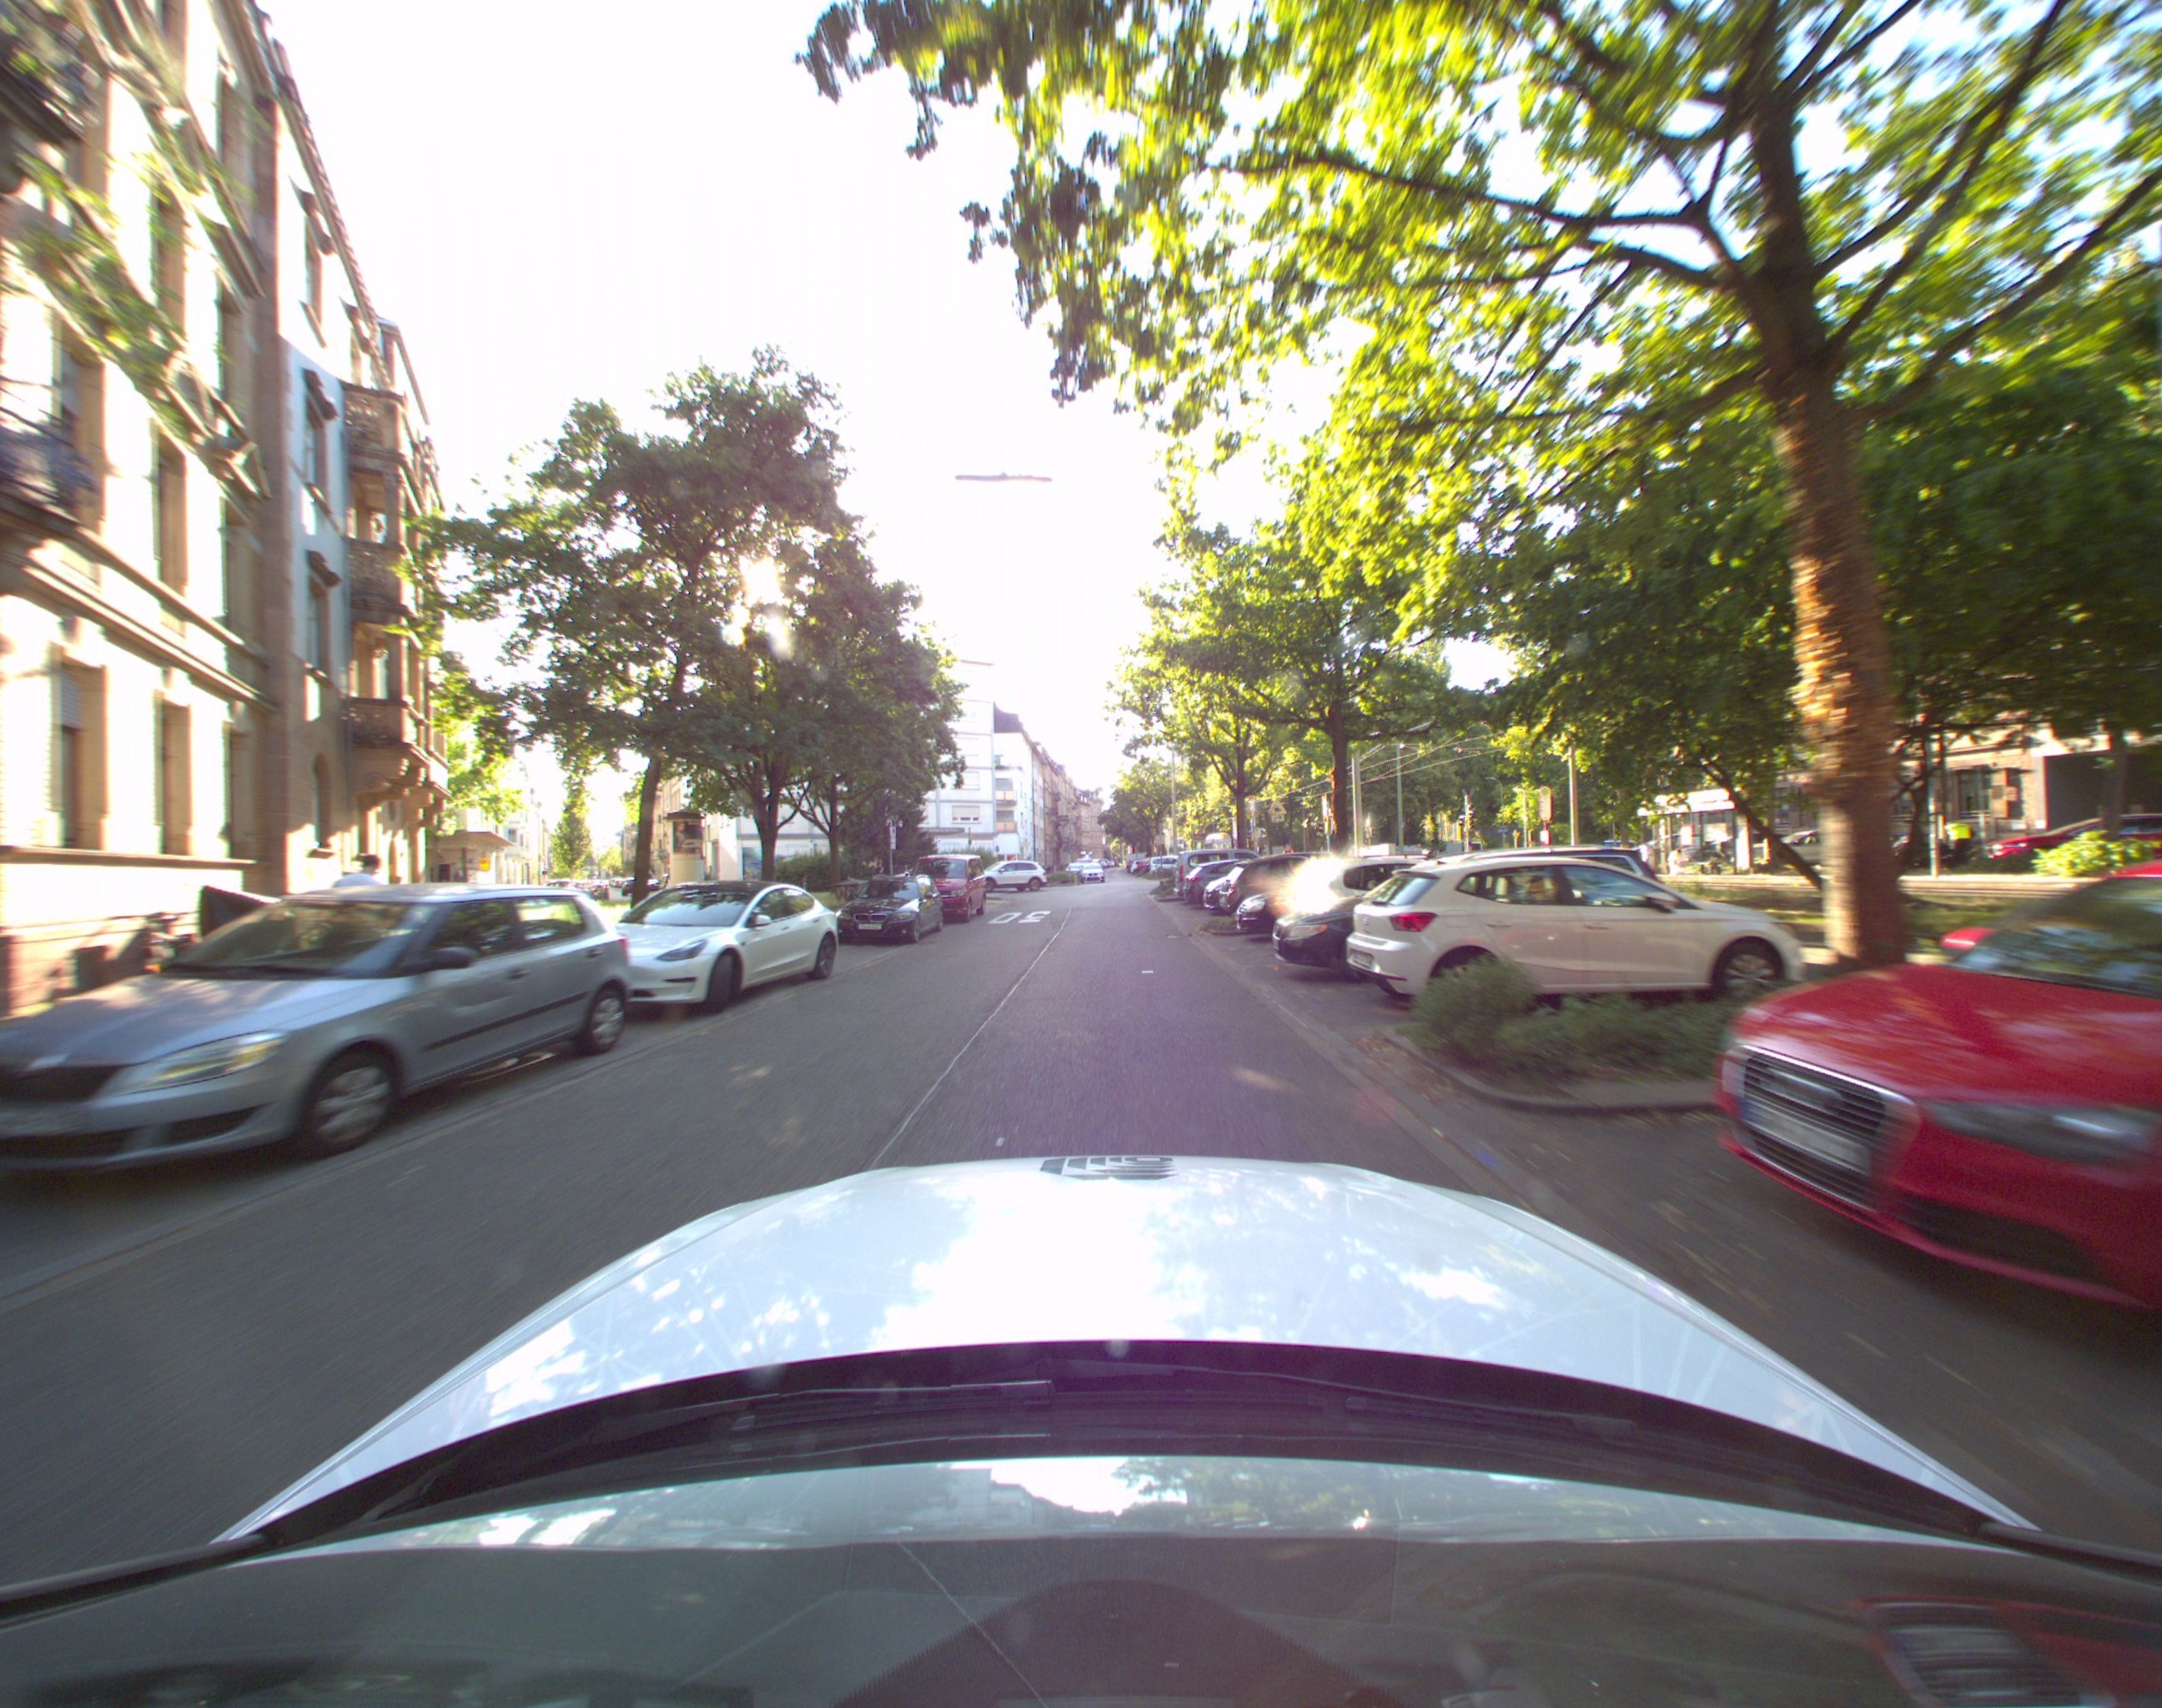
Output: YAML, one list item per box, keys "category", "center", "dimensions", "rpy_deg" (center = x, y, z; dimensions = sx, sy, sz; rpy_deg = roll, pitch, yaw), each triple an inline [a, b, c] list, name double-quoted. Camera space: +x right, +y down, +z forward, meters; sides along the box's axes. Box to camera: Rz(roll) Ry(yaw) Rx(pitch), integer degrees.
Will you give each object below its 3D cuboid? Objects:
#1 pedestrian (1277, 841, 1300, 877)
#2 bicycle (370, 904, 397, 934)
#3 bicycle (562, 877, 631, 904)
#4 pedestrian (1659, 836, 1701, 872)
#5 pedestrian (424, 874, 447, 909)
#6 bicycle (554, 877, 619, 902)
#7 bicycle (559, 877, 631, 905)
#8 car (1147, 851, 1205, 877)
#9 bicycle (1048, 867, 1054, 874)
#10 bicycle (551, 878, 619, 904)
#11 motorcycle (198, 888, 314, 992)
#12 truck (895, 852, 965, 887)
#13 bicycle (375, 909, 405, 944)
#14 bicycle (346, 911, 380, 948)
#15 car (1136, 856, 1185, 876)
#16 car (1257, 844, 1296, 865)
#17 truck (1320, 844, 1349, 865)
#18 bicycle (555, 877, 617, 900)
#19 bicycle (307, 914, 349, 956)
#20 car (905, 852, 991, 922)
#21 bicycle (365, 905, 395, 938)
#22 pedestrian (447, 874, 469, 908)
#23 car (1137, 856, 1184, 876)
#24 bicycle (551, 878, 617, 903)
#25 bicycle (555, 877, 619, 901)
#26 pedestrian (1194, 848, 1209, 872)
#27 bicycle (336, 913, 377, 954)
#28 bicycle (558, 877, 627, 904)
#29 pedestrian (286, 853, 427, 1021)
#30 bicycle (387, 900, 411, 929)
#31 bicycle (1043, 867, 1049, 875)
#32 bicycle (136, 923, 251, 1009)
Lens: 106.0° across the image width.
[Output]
- category: "pedestrian"
  center: [11.104, 0.264, 43.556]
  dimensions: [0.899, 1.918, 1.151]
  rpy_deg: [-2, 0, 2]
- category: "bicycle"
  center: [-18.879, 1.747, 22.057]
  dimensions: [0.370, 0.732, 1.494]
  rpy_deg: [-1, -1, -34]
- category: "bicycle"
  center: [-27.794, 2.081, 46.827]
  dimensions: [3.390, 1.445, 0.873]
  rpy_deg: [-1, -1, -30]
- category: "pedestrian"
  center: [21.858, -0.002, 29.727]
  dimensions: [0.821, 1.273, 0.875]
  rpy_deg: [-2, -1, -6]
- category: "pedestrian"
  center: [-36.216, 2.087, 45.713]
  dimensions: [0.855, 1.875, 0.882]
  rpy_deg: [-2, -1, -32]
- category: "bicycle"
  center: [-30.745, 2.193, 50.702]
  dimensions: [3.389, 1.445, 0.873]
  rpy_deg: [1, -2, -30]
- category: "bicycle"
  center: [-27.182, 2.071, 45.642]
  dimensions: [3.390, 1.445, 0.873]
  rpy_deg: [-1, -1, -30]
- category: "car"
  center: [7.570, 0.822, 65.005]
  dimensions: [4.186, 1.652, 1.618]
  rpy_deg: [-7, -1, 33]
- category: "bicycle"
  center: [-4.173, 2.268, 112.782]
  dimensions: [0.624, 1.003, 2.176]
  rpy_deg: [-2, 0, 1]
- category: "bicycle"
  center: [-29.397, 2.171, 48.338]
  dimensions: [3.389, 1.445, 0.873]
  rpy_deg: [1, -2, -30]
- category: "motorcycle"
  center: [-12.322, 1.234, 12.232]
  dimensions: [0.813, 1.353, 1.879]
  rpy_deg: [-2, 0, -34]
- category: "truck"
  center: [-11.923, 1.180, 64.237]
  dimensions: [4.991, 2.535, 1.979]
  rpy_deg: [-2, -1, -33]
- category: "bicycle"
  center: [-16.255, 1.697, 19.173]
  dimensions: [0.370, 0.732, 1.494]
  rpy_deg: [-1, -1, -34]
- category: "bicycle"
  center: [-16.206, 1.689, 18.394]
  dimensions: [0.370, 0.732, 1.494]
  rpy_deg: [-1, -1, -34]
- category: "car"
  center: [7.532, 1.116, 77.016]
  dimensions: [4.188, 1.458, 1.617]
  rpy_deg: [-6, -1, 26]
- category: "car"
  center: [24.475, 0.046, 101.945]
  dimensions: [4.442, 2.476, 1.830]
  rpy_deg: [0, -2, 33]
- category: "truck"
  center: [31.199, 0.092, 100.420]
  dimensions: [2.357, 2.352, 4.386]
  rpy_deg: [-2, -1, 2]
- category: "bicycle"
  center: [-32.231, 2.205, 53.132]
  dimensions: [3.389, 1.445, 0.873]
  rpy_deg: [1, -2, -30]
- category: "bicycle"
  center: [-14.949, 1.593, 16.191]
  dimensions: [0.370, 0.732, 1.494]
  rpy_deg: [-1, -1, -34]
- category: "car"
  center: [-3.969, 0.934, 25.047]
  dimensions: [1.770, 1.934, 4.773]
  rpy_deg: [0, 0, 1]
- category: "bicycle"
  center: [-17.459, 1.676, 20.295]
  dimensions: [0.370, 0.732, 1.494]
  rpy_deg: [-1, -1, -34]
- category: "pedestrian"
  center: [-35.584, 2.101, 46.517]
  dimensions: [0.855, 1.875, 0.882]
  rpy_deg: [-2, -1, -32]
- category: "car"
  center: [7.761, 1.196, 79.869]
  dimensions: [4.188, 1.458, 1.617]
  rpy_deg: [-6, -1, 26]
- category: "bicycle"
  center: [-29.928, 2.179, 49.126]
  dimensions: [3.389, 1.445, 0.873]
  rpy_deg: [1, -2, -30]
- category: "bicycle"
  center: [-31.202, 2.200, 51.529]
  dimensions: [3.389, 1.445, 0.873]
  rpy_deg: [1, -2, -30]
- category: "pedestrian"
  center: [9.832, 0.503, 66.246]
  dimensions: [0.840, 1.910, 0.843]
  rpy_deg: [-3, -1, 37]
- category: "bicycle"
  center: [-14.663, 1.590, 16.503]
  dimensions: [0.417, 0.732, 1.494]
  rpy_deg: [-1, -1, -34]
- category: "bicycle"
  center: [-28.531, 2.127, 47.639]
  dimensions: [3.390, 1.445, 0.873]
  rpy_deg: [-1, -1, -30]
- category: "pedestrian"
  center: [-7.767, 0.852, 8.779]
  dimensions: [0.671, 1.718, 0.911]
  rpy_deg: [0, -1, -1]
- category: "bicycle"
  center: [-19.745, 1.749, 23.583]
  dimensions: [0.370, 0.732, 1.494]
  rpy_deg: [-1, 1, -34]
- category: "bicycle"
  center: [-4.591, 2.217, 107.184]
  dimensions: [0.624, 1.003, 2.176]
  rpy_deg: [-2, 0, 1]
- category: "bicycle"
  center: [-11.278, 1.382, 10.410]
  dimensions: [0.528, 0.848, 1.879]
  rpy_deg: [-2, 0, -33]
